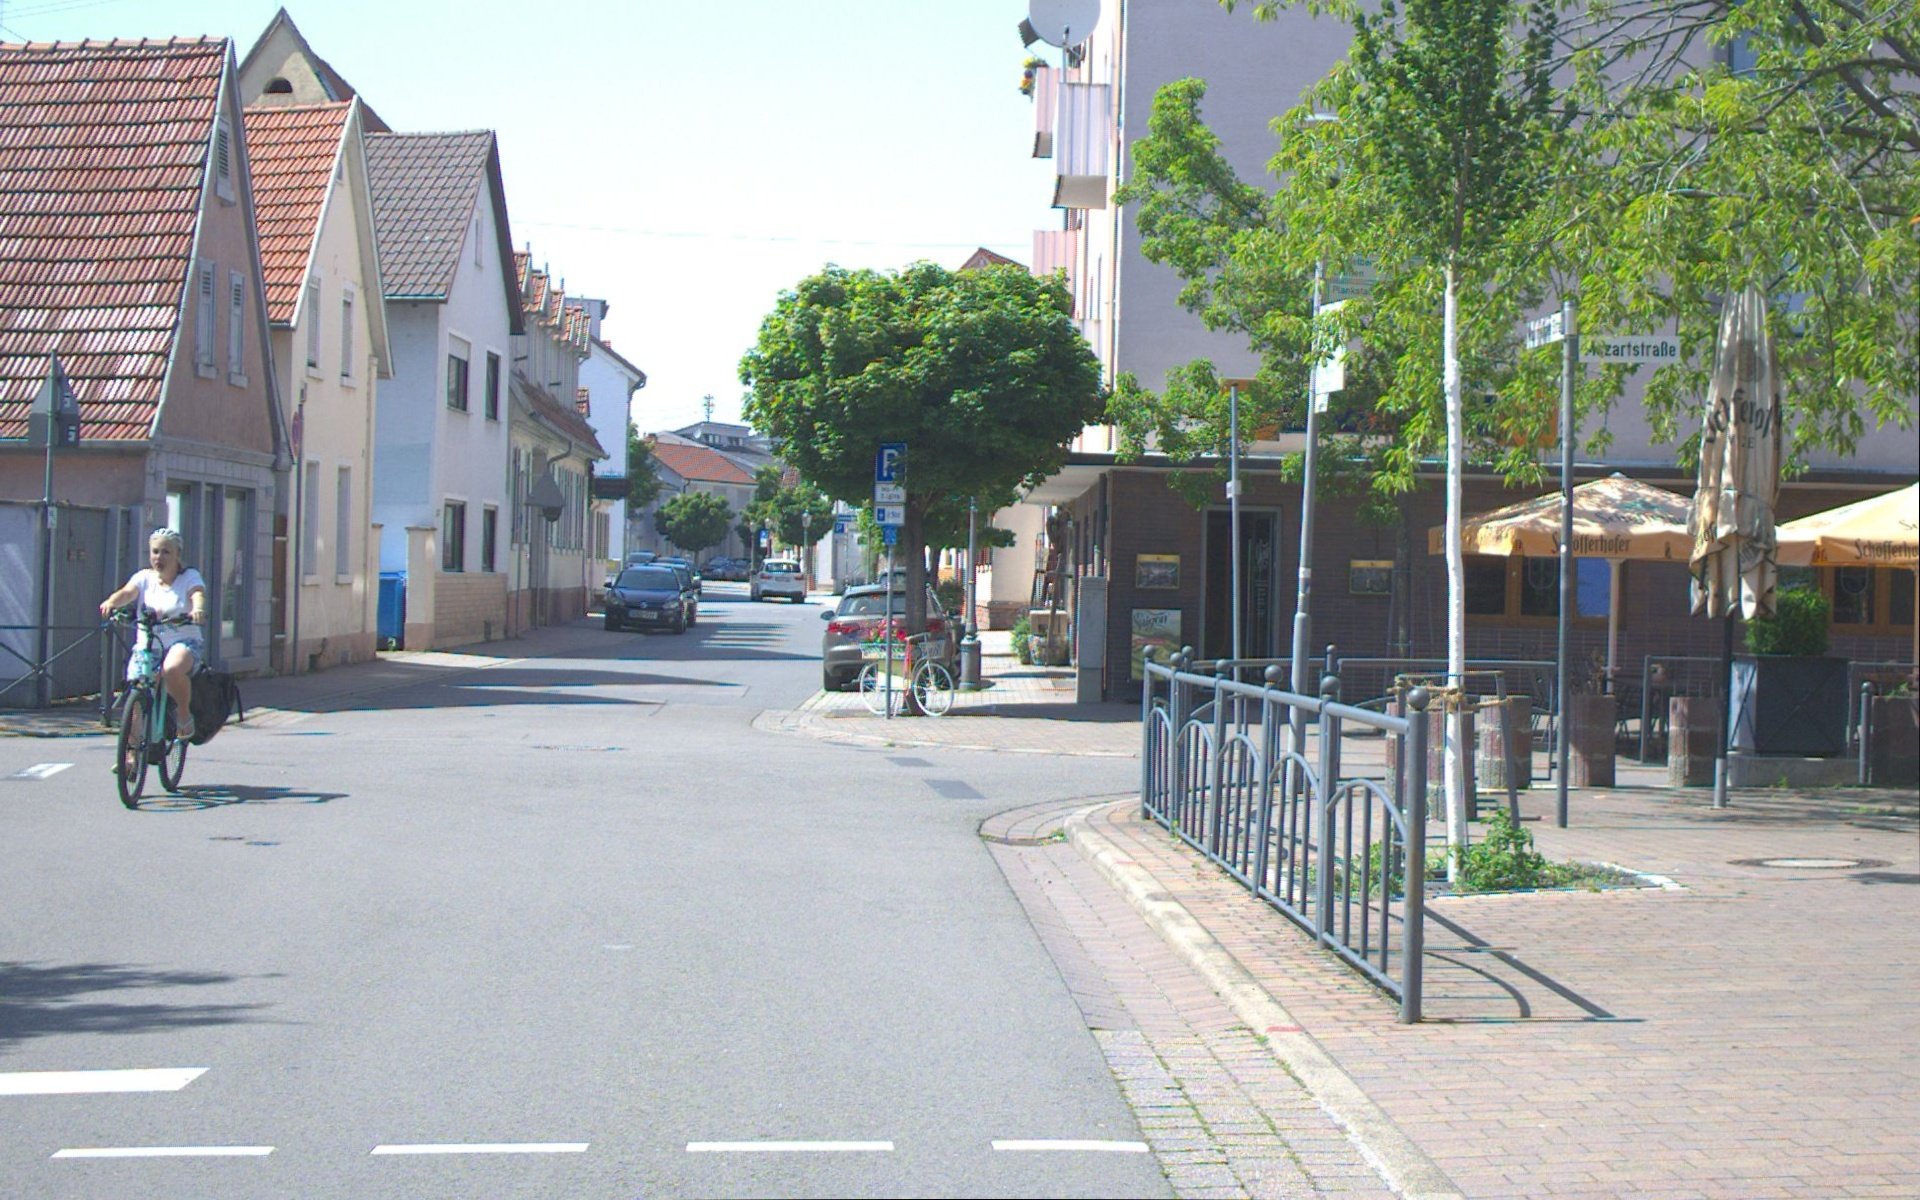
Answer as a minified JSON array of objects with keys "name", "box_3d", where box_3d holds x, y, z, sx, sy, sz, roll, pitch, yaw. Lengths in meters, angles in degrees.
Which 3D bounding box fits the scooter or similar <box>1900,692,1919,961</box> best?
[{"name":"scooter or similar","box_3d":[3.672,0.827,12.199,0.411,0.962,0.960,1,0,1]}]

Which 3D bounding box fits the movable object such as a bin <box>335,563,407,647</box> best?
[{"name":"movable object such as a bin","box_3d":[-9.727,0.076,56.777,1.102,1.361,0.390,1,0,3]}]

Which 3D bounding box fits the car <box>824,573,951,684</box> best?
[{"name":"car","box_3d":[-0.958,0.367,47.196,1.576,1.449,3.486,1,0,1]}]

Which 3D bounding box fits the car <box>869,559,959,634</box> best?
[{"name":"car","box_3d":[-1.081,-0.103,81.063,2.043,1.683,4.842,1,1,-1]}]

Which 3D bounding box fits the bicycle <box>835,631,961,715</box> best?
[{"name":"bicycle","box_3d":[-0.698,0.812,38.580,1.412,0.894,0.464,0,1,36]}]

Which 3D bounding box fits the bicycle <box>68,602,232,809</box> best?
[{"name":"bicycle","box_3d":[-5.218,0.653,22.240,0.708,1.248,1.972,1,1,-4]}]

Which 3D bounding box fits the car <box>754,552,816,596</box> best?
[{"name":"car","box_3d":[-6.591,-0.973,129.039,2.026,1.592,4.510,1,1,-6]}]

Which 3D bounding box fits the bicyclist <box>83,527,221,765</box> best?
[{"name":"bicyclist","box_3d":[-5.211,0.287,22.216,0.714,1.501,0.871,1,0,-4]}]

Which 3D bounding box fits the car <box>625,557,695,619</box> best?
[{"name":"car","box_3d":[-7.385,-0.300,84.750,1.663,1.471,3.451,1,1,-4]}]

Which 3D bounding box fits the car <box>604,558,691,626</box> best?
[{"name":"car","box_3d":[-7.079,-0.199,78.196,1.663,1.471,4.135,1,1,-1]}]

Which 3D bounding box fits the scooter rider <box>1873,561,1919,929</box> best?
[{"name":"scooter rider","box_3d":[3.685,0.524,12.406,0.461,1.320,1.133,1,0,0]}]
